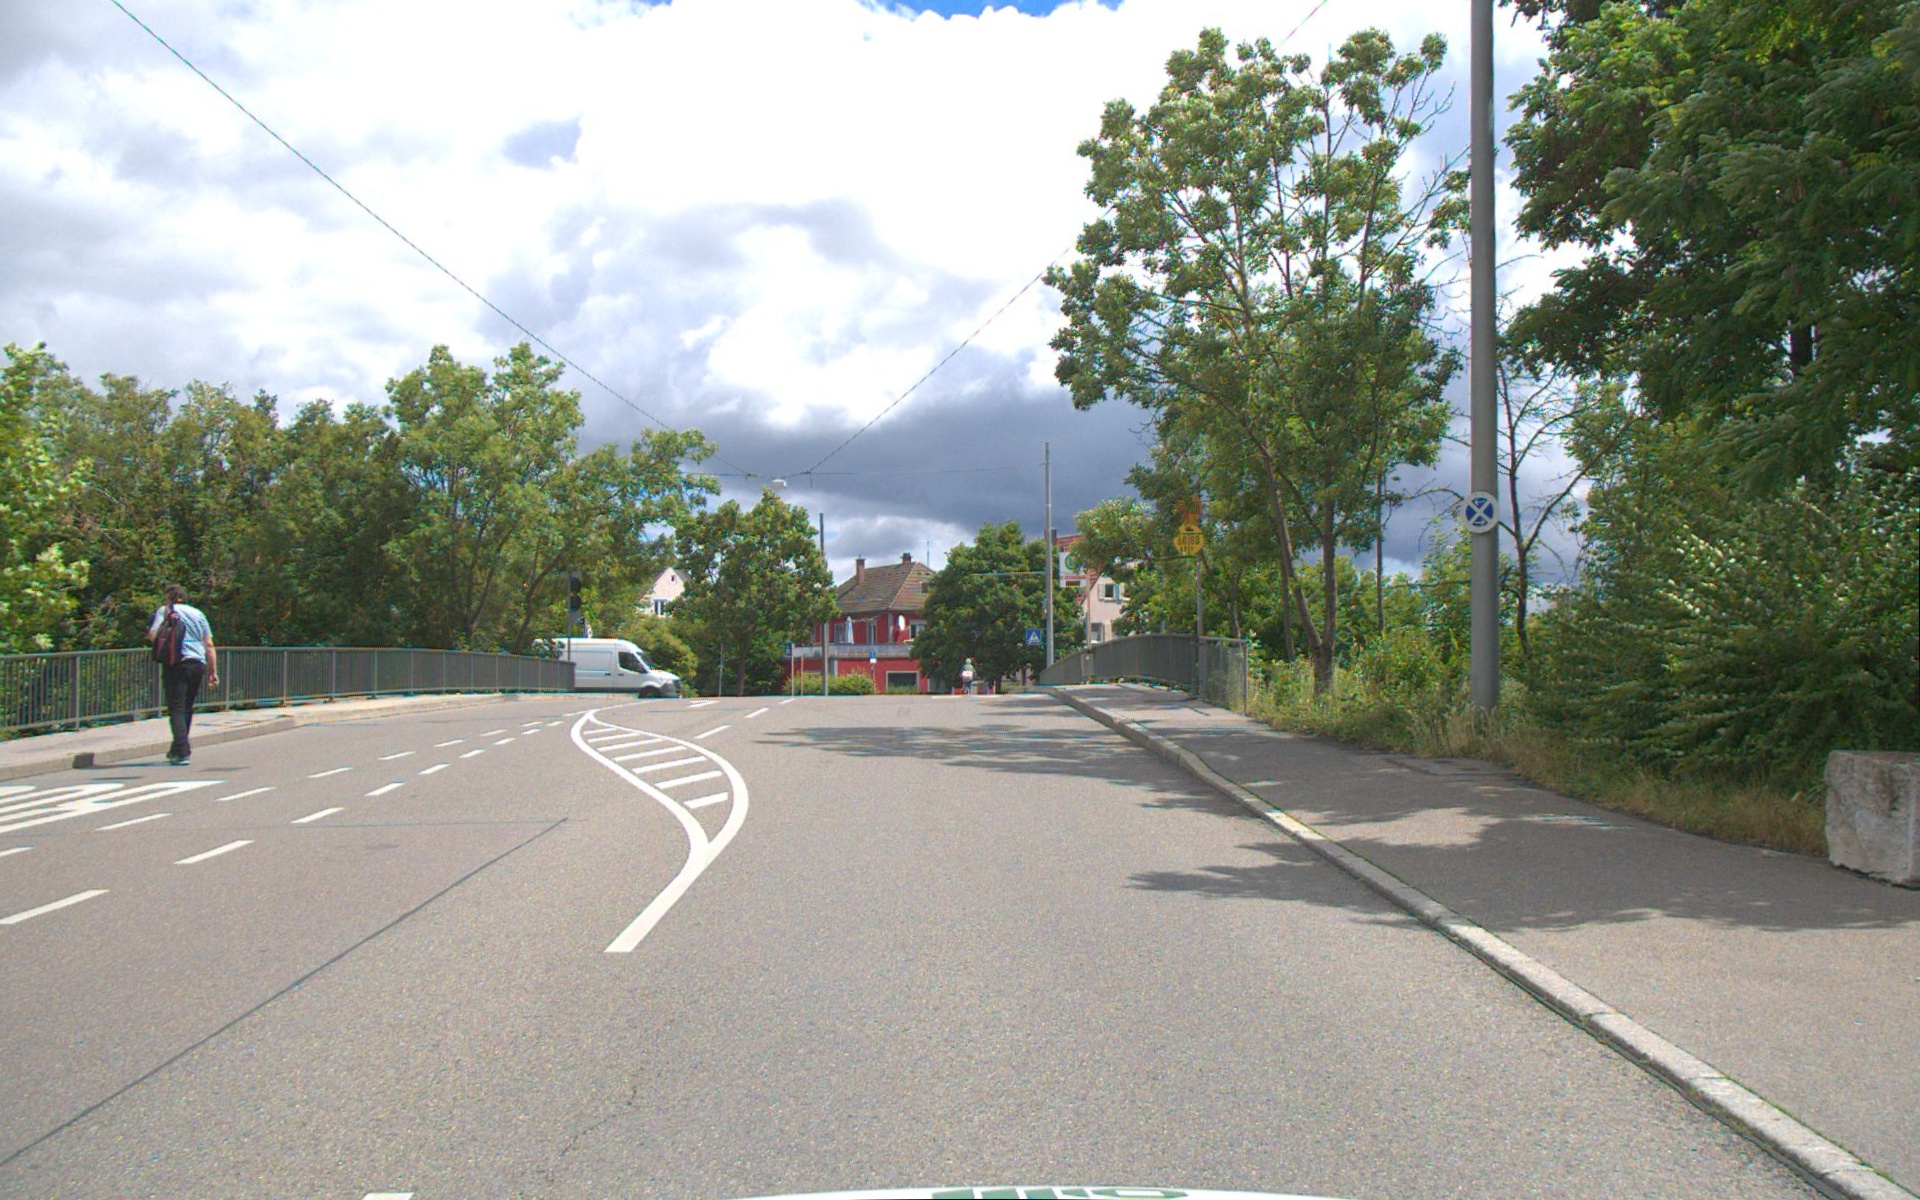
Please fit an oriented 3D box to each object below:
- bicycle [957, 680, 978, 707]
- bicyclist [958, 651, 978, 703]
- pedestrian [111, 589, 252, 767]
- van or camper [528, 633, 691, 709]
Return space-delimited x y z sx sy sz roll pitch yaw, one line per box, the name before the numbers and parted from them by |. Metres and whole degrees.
bicycle | 0.290 3.549 62.546 0.673 0.894 2.102 0 -7 4
bicyclist | 0.296 2.919 62.586 0.670 1.858 1.081 0 -7 4
pedestrian | -8.492 0.834 18.055 1.016 1.869 0.996 -1 -2 35
van or camper | -13.506 2.770 64.016 5.787 2.612 2.193 -2 -5 1
